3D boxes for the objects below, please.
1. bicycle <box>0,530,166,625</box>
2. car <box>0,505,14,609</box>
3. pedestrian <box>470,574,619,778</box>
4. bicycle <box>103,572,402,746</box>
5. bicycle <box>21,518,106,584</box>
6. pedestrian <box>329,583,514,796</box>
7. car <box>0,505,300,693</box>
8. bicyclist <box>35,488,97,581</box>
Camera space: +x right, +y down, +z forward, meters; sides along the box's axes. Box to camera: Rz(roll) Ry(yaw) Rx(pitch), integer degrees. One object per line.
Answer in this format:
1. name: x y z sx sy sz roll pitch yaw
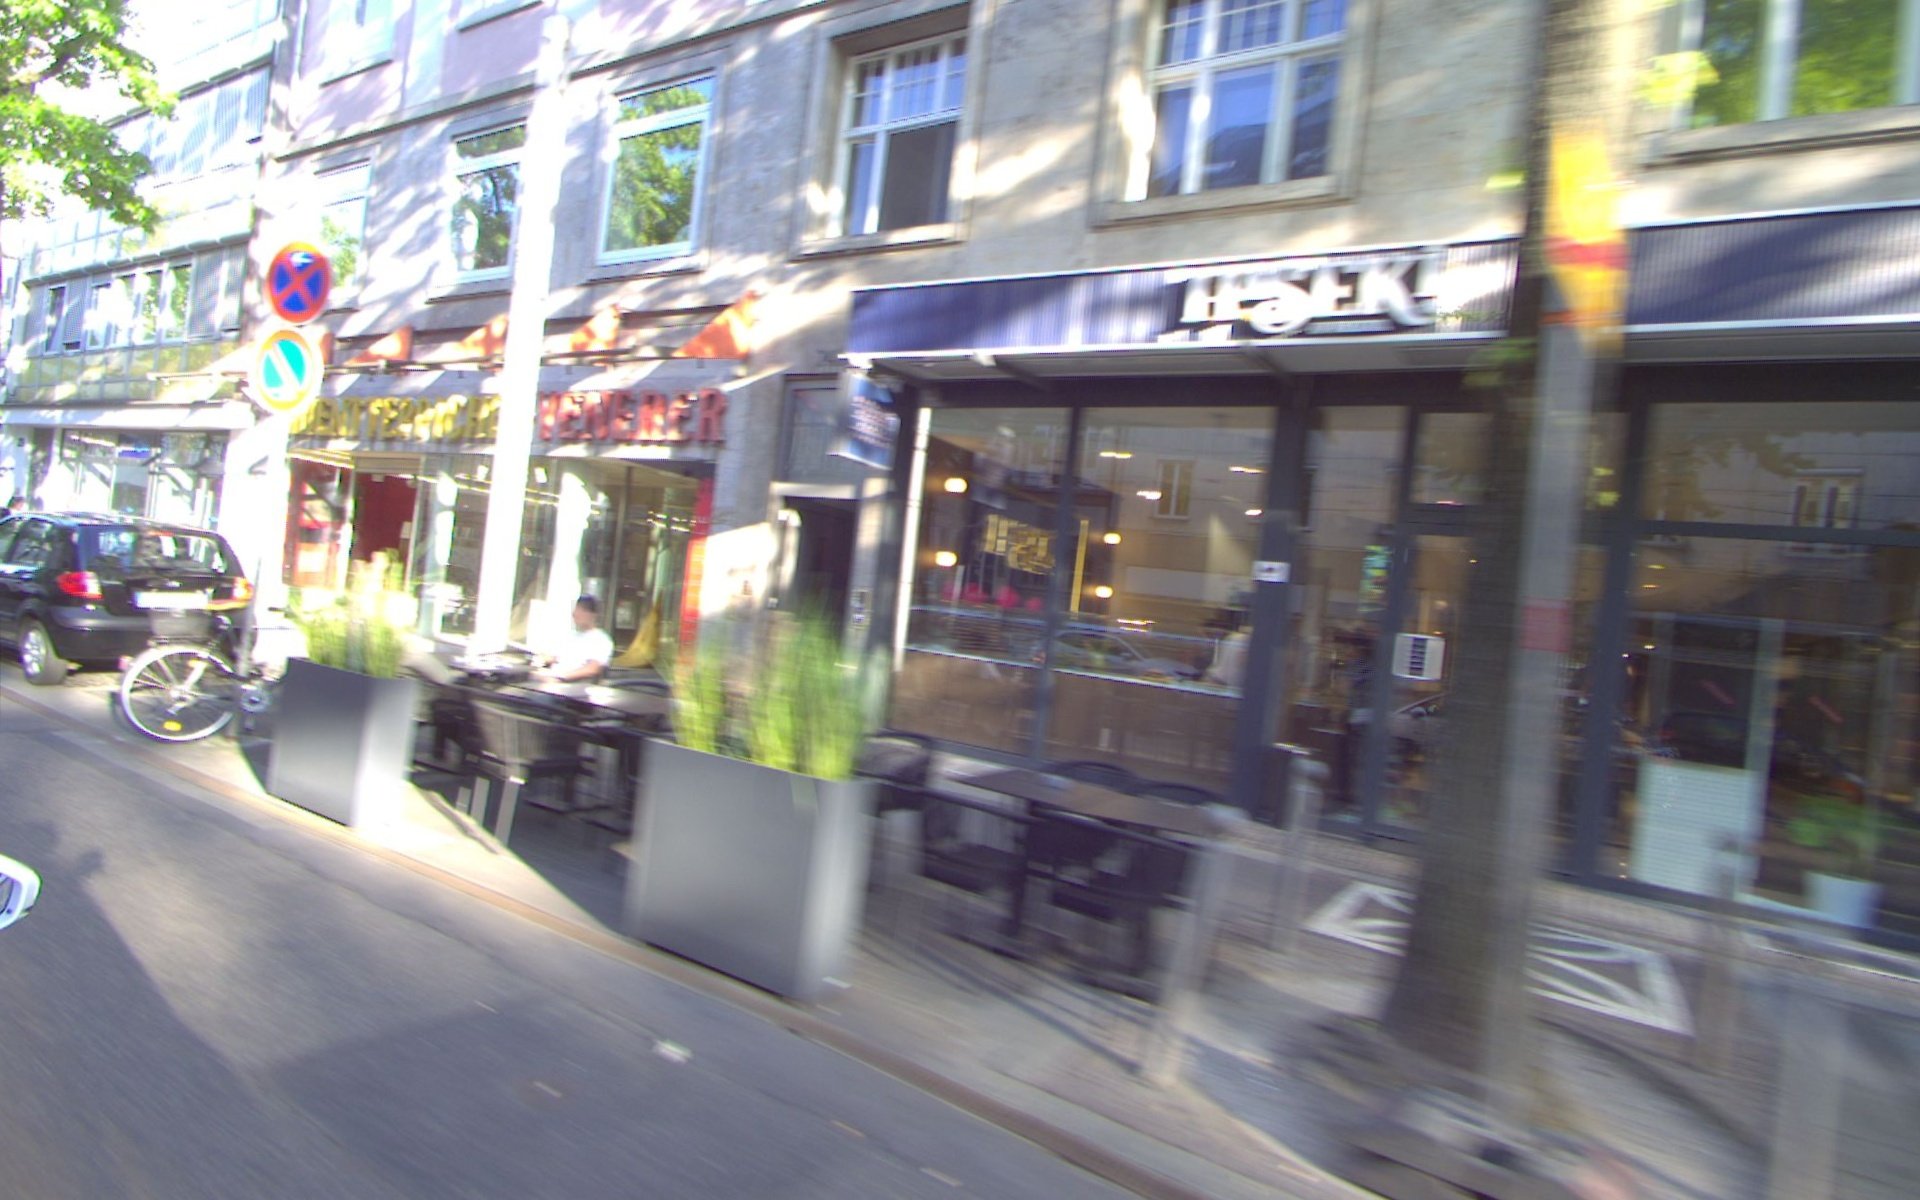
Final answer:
1. bicycle: -11.654 -0.283 13.120 0.699 1.087 1.860 7 0 22
2. car: -16.002 -0.877 14.737 3.930 1.504 1.819 6 -1 27
3. pedestrian: -3.134 0.558 7.658 0.734 1.404 0.709 7 0 -5
4. bicycle: -5.216 0.455 7.510 1.716 1.153 0.541 5 1 -38
5. bicycle: -17.422 -0.950 19.540 1.830 1.088 0.648 7 1 31
6. pedestrian: -3.577 0.584 6.708 0.577 1.281 0.817 7 0 37
7. car: -8.529 -0.092 9.994 3.593 1.477 1.802 6 1 30
8. bicyclist: -17.311 -1.262 19.475 0.589 1.705 0.639 7 1 30
